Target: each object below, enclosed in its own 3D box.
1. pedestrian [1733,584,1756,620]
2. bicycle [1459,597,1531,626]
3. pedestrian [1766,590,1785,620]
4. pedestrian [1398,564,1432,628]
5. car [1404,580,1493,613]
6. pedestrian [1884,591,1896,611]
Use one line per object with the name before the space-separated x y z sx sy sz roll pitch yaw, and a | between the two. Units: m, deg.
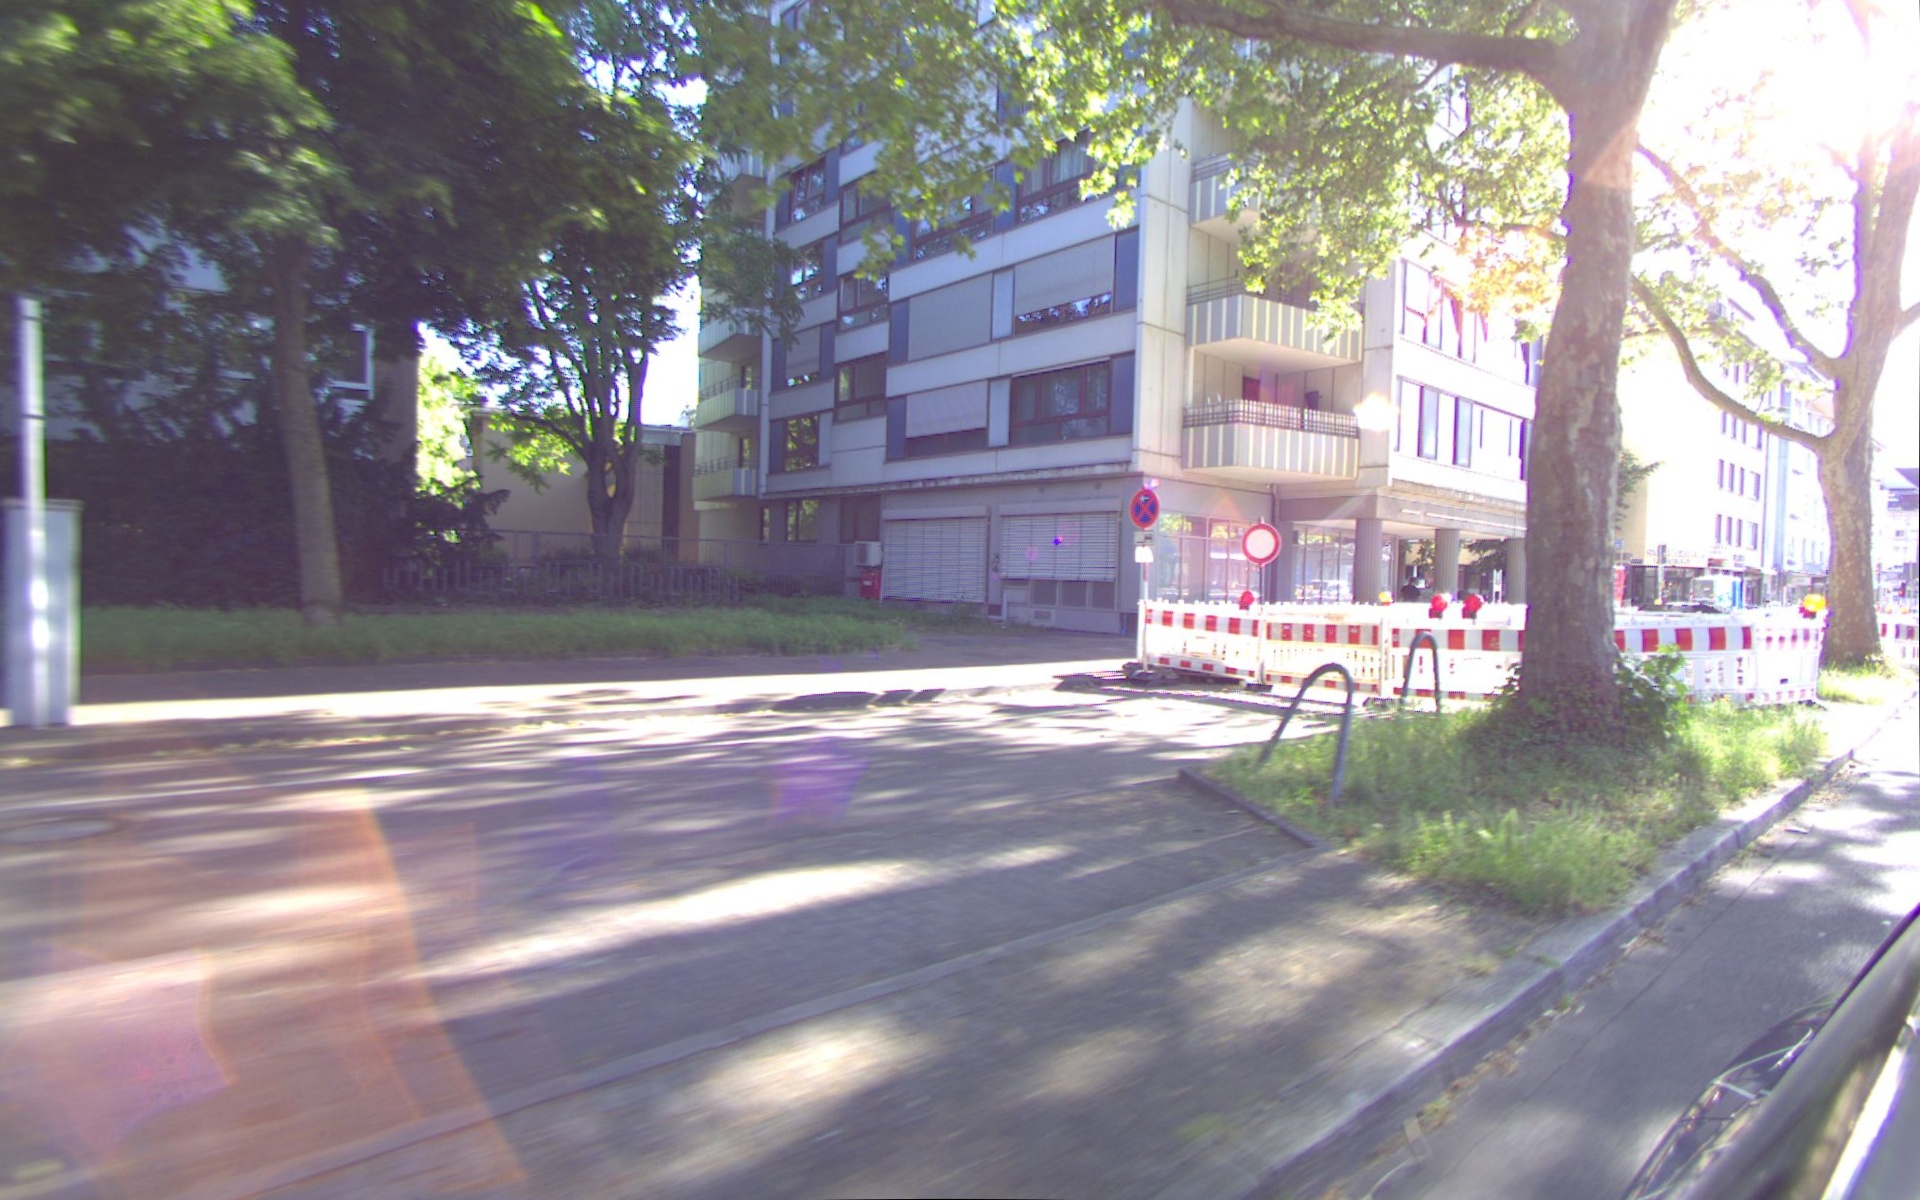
pedestrian | 41.436 0.100 53.443 0.884 1.877 0.730 0 1 -38
bicycle | 18.733 0.385 35.491 0.996 0.955 2.039 1 1 -21
pedestrian | 42.625 0.244 52.896 0.640 1.525 0.672 0 1 -41
pedestrian | 13.399 -0.120 29.808 0.654 1.838 0.691 0 1 -41
car | 27.009 -0.205 56.131 1.958 1.662 4.258 2 1 -20
pedestrian | 79.459 0.093 86.480 0.665 1.711 0.663 0 1 -41
